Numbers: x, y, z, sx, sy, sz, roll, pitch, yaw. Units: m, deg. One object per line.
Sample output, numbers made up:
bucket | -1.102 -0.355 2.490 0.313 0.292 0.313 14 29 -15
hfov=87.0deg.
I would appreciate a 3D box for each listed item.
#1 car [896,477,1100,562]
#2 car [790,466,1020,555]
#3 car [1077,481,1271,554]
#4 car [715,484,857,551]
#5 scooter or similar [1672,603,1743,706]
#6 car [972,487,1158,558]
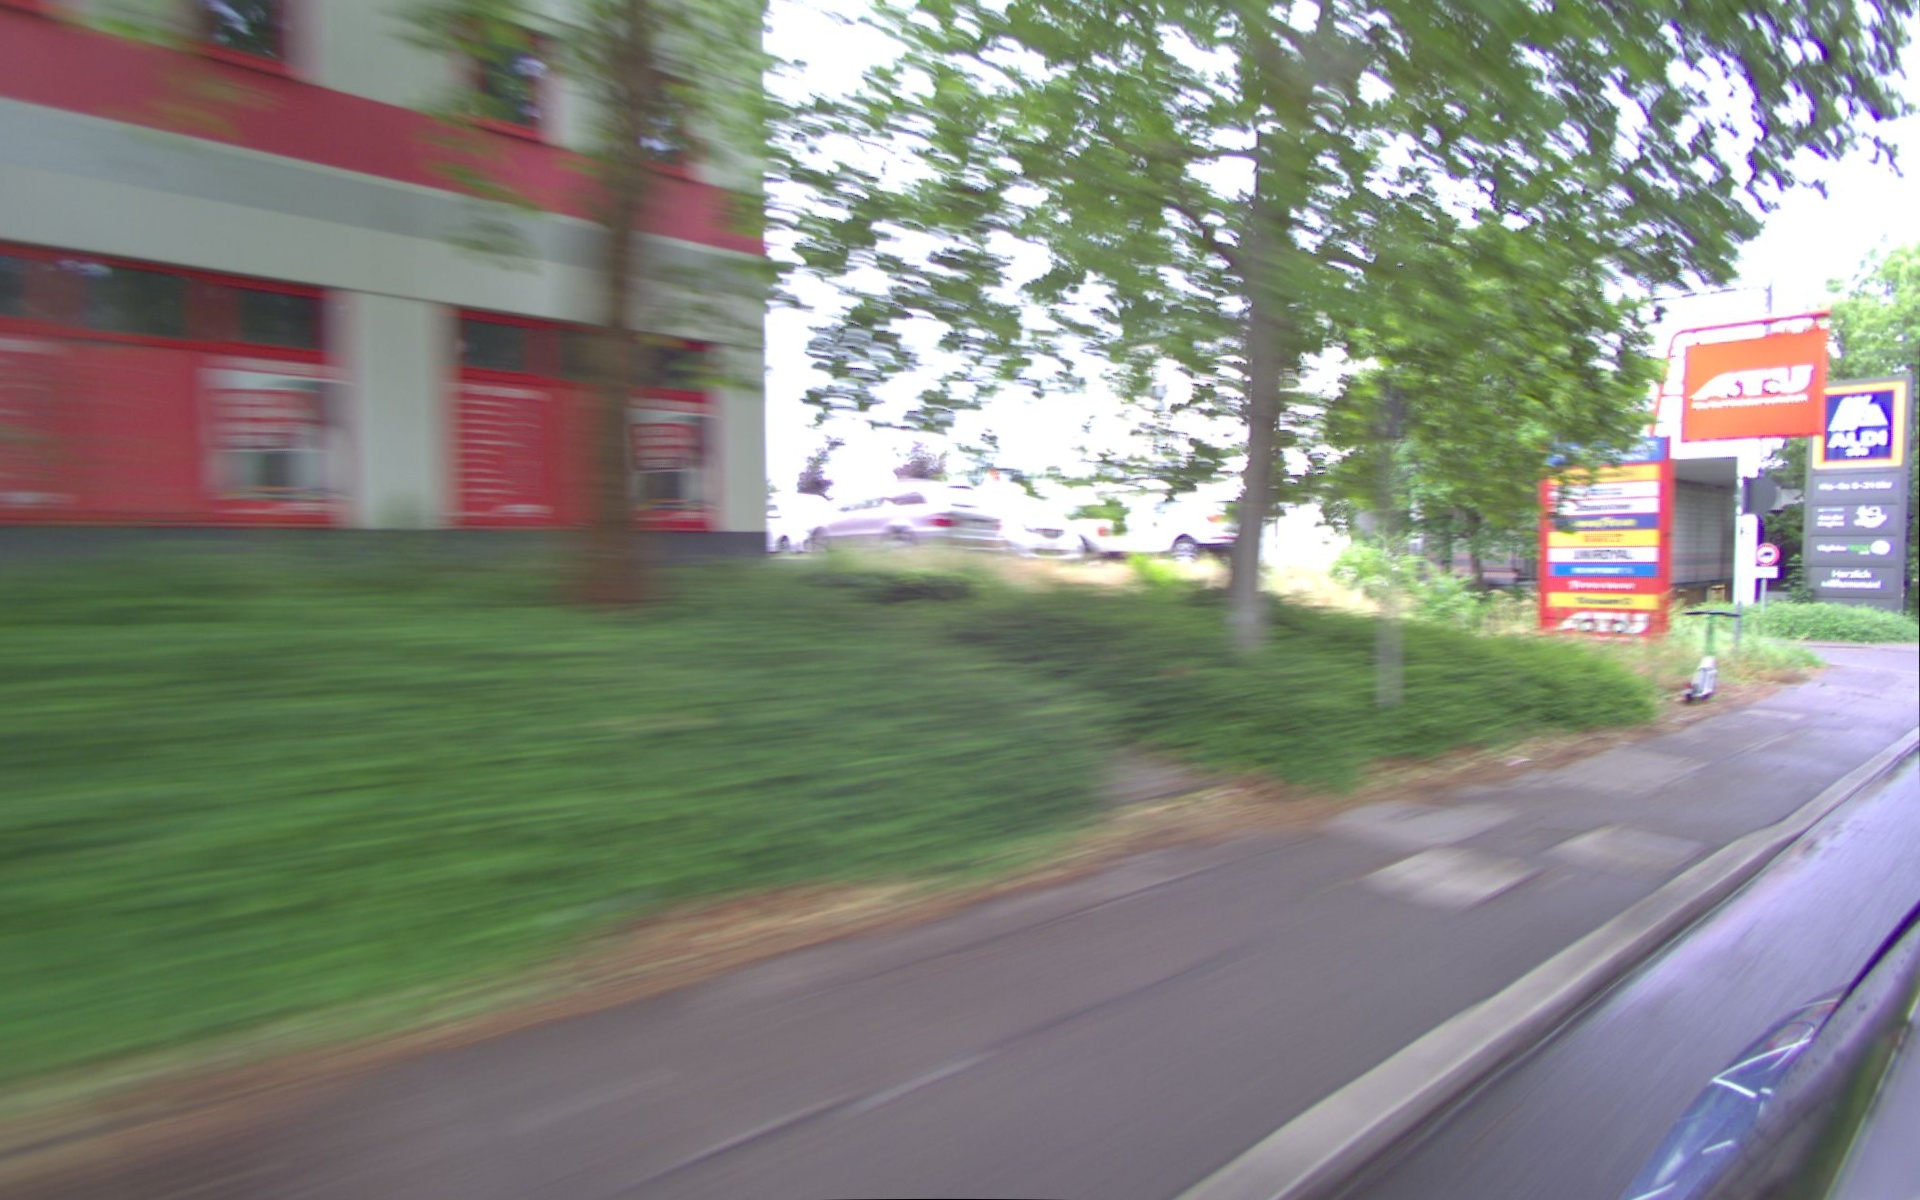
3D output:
car | 0.656 -1.540 20.267 1.850 1.485 4.111 0 2 -39
car | -1.132 -1.527 18.427 1.769 1.350 4.619 0 2 -40
car | 4.815 -1.815 23.222 1.869 1.393 4.108 -1 1 -40
car | -5.321 -2.400 30.441 1.884 1.805 4.774 -1 2 -44
scooter or similar | 9.398 0.647 12.709 1.504 1.156 0.426 -3 2 -43
car | 2.225 -1.620 22.178 1.800 1.309 3.926 -1 1 -40
